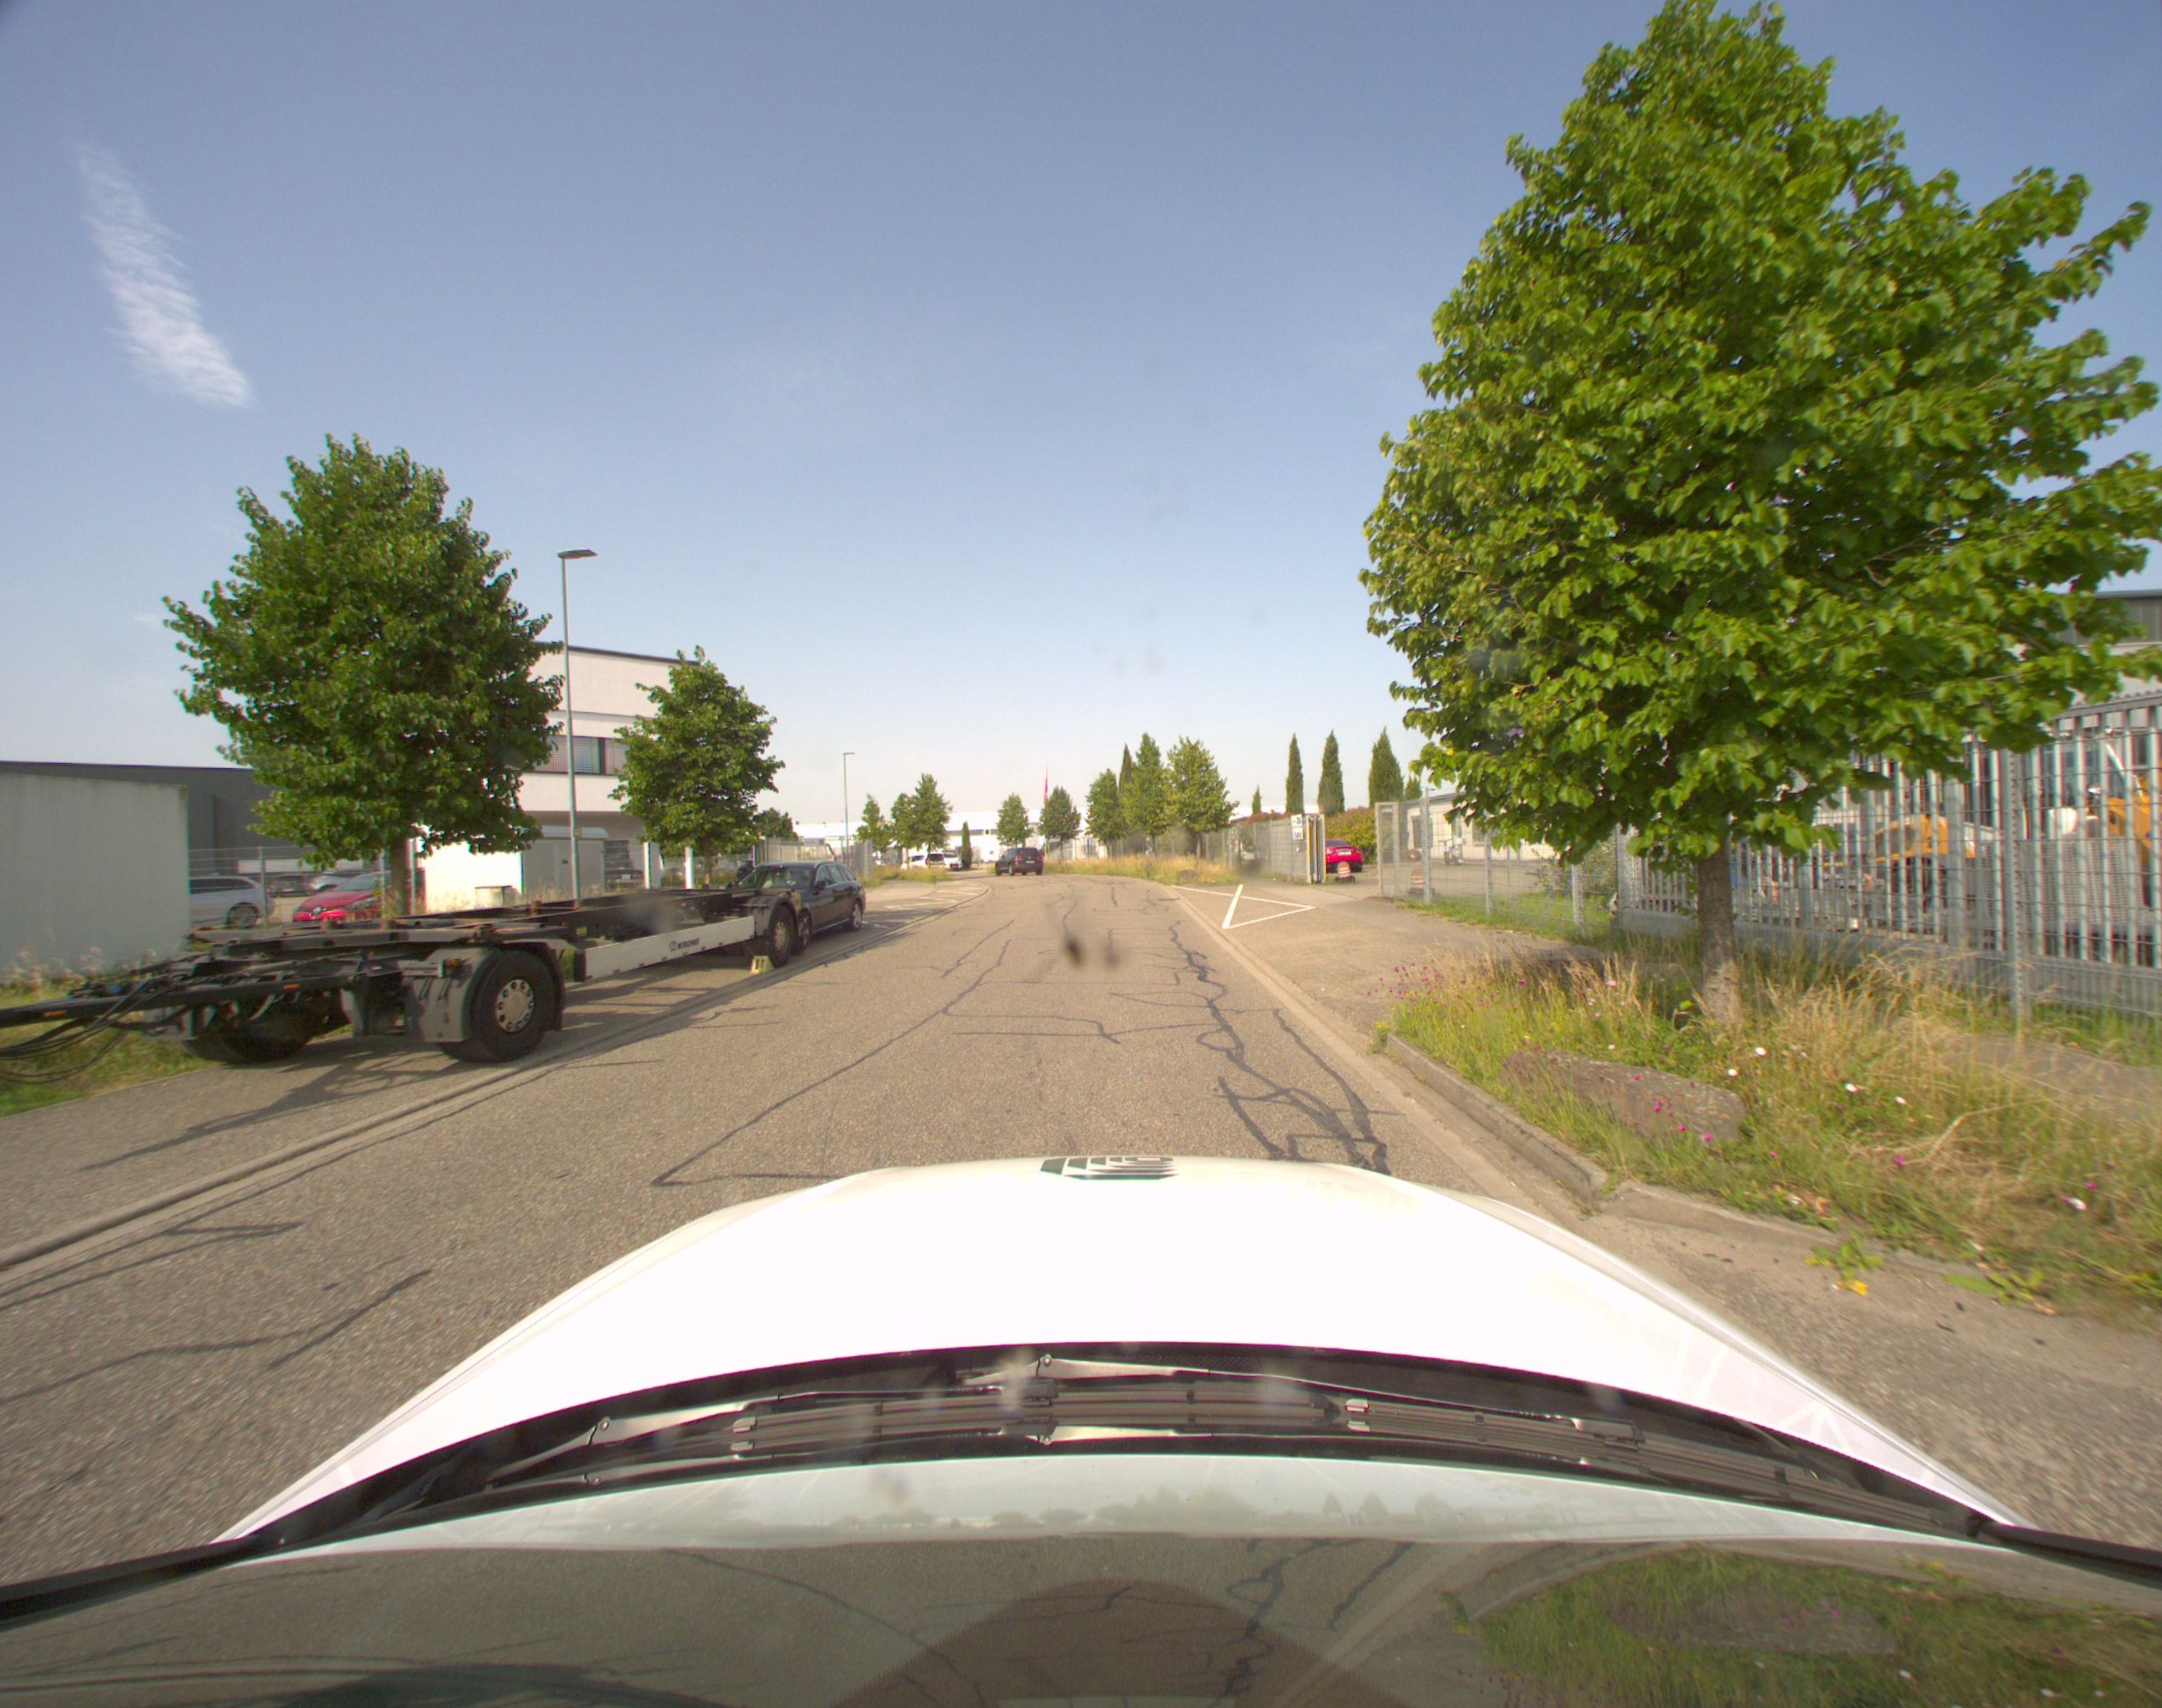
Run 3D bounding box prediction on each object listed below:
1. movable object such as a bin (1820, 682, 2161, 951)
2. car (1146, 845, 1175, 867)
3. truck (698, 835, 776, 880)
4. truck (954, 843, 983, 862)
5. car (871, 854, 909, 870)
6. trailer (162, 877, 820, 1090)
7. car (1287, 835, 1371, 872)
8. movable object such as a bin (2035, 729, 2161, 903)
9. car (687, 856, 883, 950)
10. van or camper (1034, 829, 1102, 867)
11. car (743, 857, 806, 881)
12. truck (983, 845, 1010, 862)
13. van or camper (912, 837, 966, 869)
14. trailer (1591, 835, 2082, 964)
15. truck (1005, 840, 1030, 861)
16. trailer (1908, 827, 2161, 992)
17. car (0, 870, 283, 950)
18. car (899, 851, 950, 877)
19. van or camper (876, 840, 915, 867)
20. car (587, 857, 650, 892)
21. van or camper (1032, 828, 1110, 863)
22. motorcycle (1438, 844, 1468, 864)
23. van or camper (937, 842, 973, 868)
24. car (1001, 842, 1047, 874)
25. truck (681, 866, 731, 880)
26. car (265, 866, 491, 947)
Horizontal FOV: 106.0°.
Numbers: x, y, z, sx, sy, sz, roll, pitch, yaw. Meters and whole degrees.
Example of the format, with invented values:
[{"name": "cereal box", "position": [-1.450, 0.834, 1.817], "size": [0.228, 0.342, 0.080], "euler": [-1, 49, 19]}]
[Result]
[{"name": "movable object such as a bin", "position": [12.064, -0.422, 9.736], "size": [1.879, 2.752, 5.164], "euler": [-2, 0, 3]}, {"name": "car", "position": [6.260, 0.130, 64.327], "size": [1.718, 1.643, 3.995], "euler": [-1, 0, -3]}, {"name": "truck", "position": [-32.413, 0.427, 76.265], "size": [2.649, 3.929, 12.762], "euler": [-1, 0, -42]}, {"name": "truck", "position": [-15.580, -0.220, 113.566], "size": [2.440, 2.471, 8.009], "euler": [-2, 0, 3]}, {"name": "car", "position": [-20.189, 0.802, 86.181], "size": [2.148, 1.476, 4.018], "euler": [-2, 0, 17]}, {"name": "trailer", "position": [-5.421, 1.040, 9.457], "size": [2.121, 1.232, 7.163], "euler": [0, 1, 3]}, {"name": "car", "position": [10.019, -0.034, 33.304], "size": [1.875, 1.358, 4.771], "euler": [-2, 0, -1]}, {"name": "movable object such as a bin", "position": [16.903, -0.596, 10.547], "size": [2.910, 2.491, 5.343], "euler": [-2, 0, 3]}, {"name": "car", "position": [-5.497, 0.828, 15.838], "size": [1.985, 1.466, 4.436], "euler": [-1, 1, 3]}, {"name": "van or camper", "position": [-1.157, -0.451, 65.768], "size": [2.363, 2.848, 7.273], "euler": [-2, 0, -29]}, {"name": "car", "position": [-20.247, 0.961, 53.816], "size": [1.577, 1.454, 3.525], "euler": [-2, -1, 44]}, {"name": "truck", "position": [-11.938, -0.161, 115.984], "size": [2.440, 2.265, 8.009], "euler": [-2, 0, 3]}, {"name": "van or camper", "position": [-13.708, -0.049, 78.349], "size": [2.348, 2.943, 6.895], "euler": [-2, 0, -35]}, {"name": "trailer", "position": [9.308, 0.452, 10.817], "size": [2.118, 1.243, 4.797], "euler": [-2, 0, 1]}, {"name": "truck", "position": [-8.969, -0.521, 115.985], "size": [2.440, 2.826, 8.009], "euler": [-2, 0, 3]}, {"name": "trailer", "position": [9.349, 0.418, 6.120], "size": [1.937, 1.244, 4.295], "euler": [-2, 0, 1]}, {"name": "car", "position": [-22.971, 1.284, 20.176], "size": [1.826, 1.494, 4.480], "euler": [-2, 1, 1]}, {"name": "car", "position": [-12.295, 0.767, 63.819], "size": [2.010, 1.899, 4.415], "euler": [-2, 0, -39]}, {"name": "van or camper", "position": [-22.991, -0.097, 101.323], "size": [2.650, 3.084, 6.803], "euler": [-2, 1, 4]}, {"name": "car", "position": [-20.646, 0.915, 36.313], "size": [1.572, 1.415, 3.873], "euler": [-2, 0, -43]}, {"name": "van or camper", "position": [-1.012, -0.776, 77.364], "size": [7.245, 3.032, 2.581], "euler": [-2, 0, -4]}, {"name": "motorcycle", "position": [15.214, -0.006, 33.338], "size": [0.532, 0.751, 1.584], "euler": [-4, 0, 2]}, {"name": "van or camper", "position": [-13.284, 0.075, 86.290], "size": [2.473, 2.558, 6.630], "euler": [-2, 1, 2]}, {"name": "car", "position": [-3.412, 0.246, 48.312], "size": [1.997, 1.805, 3.979], "euler": [-1, -1, -15]}, {"name": "truck", "position": [-37.958, 1.914, 82.279], "size": [2.547, 1.265, 6.446], "euler": [-2, 1, -44]}, {"name": "car", "position": [-16.621, 1.154, 19.600], "size": [1.766, 1.525, 4.300], "euler": [-2, 1, -3]}]
